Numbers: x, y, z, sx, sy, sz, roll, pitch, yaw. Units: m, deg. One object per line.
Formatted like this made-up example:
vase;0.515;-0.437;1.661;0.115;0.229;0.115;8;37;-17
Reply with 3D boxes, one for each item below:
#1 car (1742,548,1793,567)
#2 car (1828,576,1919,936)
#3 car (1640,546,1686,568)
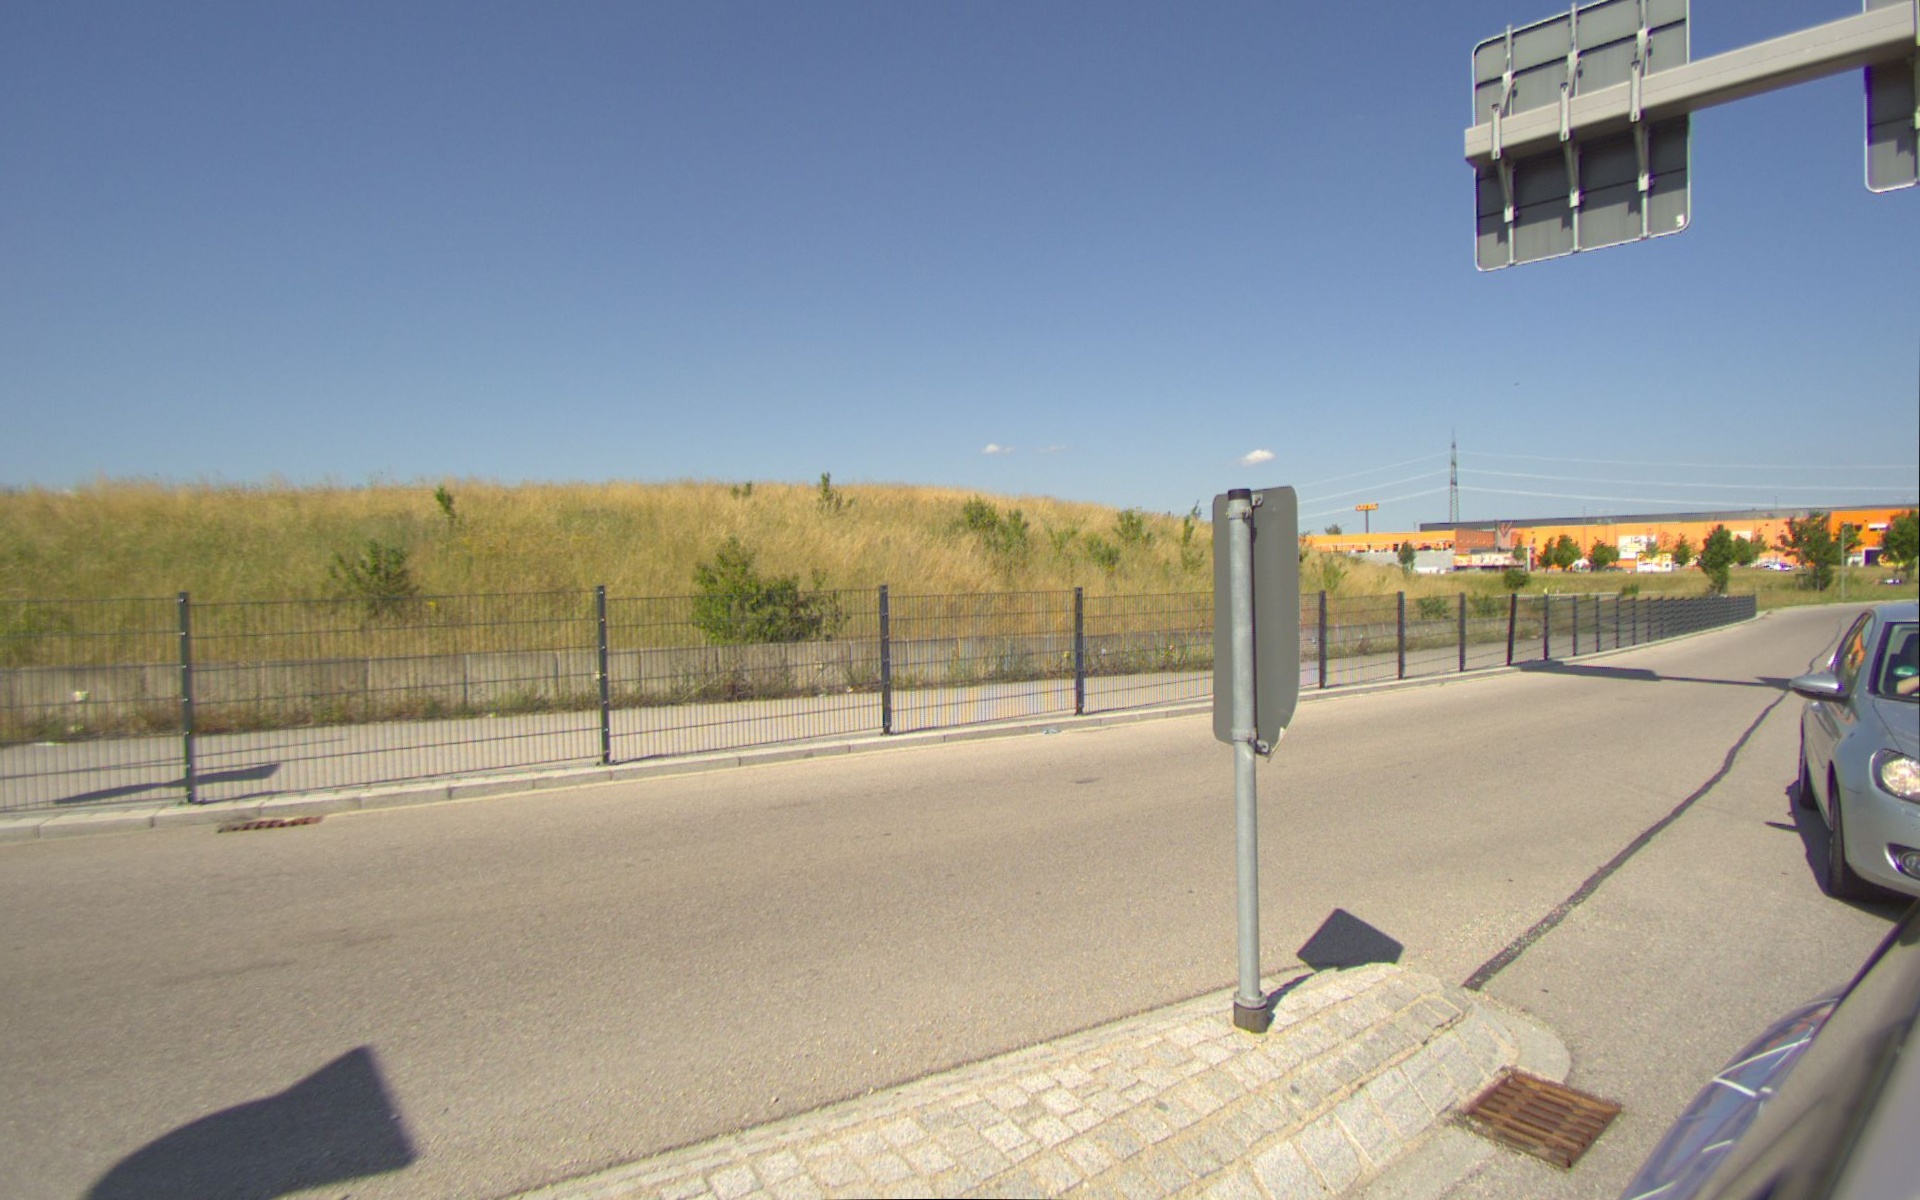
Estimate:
car;95.604;-5.008;119.908;4.611;2.039;1.973;-1;1;38
car;5.712;0.642;5.276;1.740;1.486;3.902;3;3;41
car;87.879;-5.338;126.579;4.611;2.580;1.973;-1;1;38
